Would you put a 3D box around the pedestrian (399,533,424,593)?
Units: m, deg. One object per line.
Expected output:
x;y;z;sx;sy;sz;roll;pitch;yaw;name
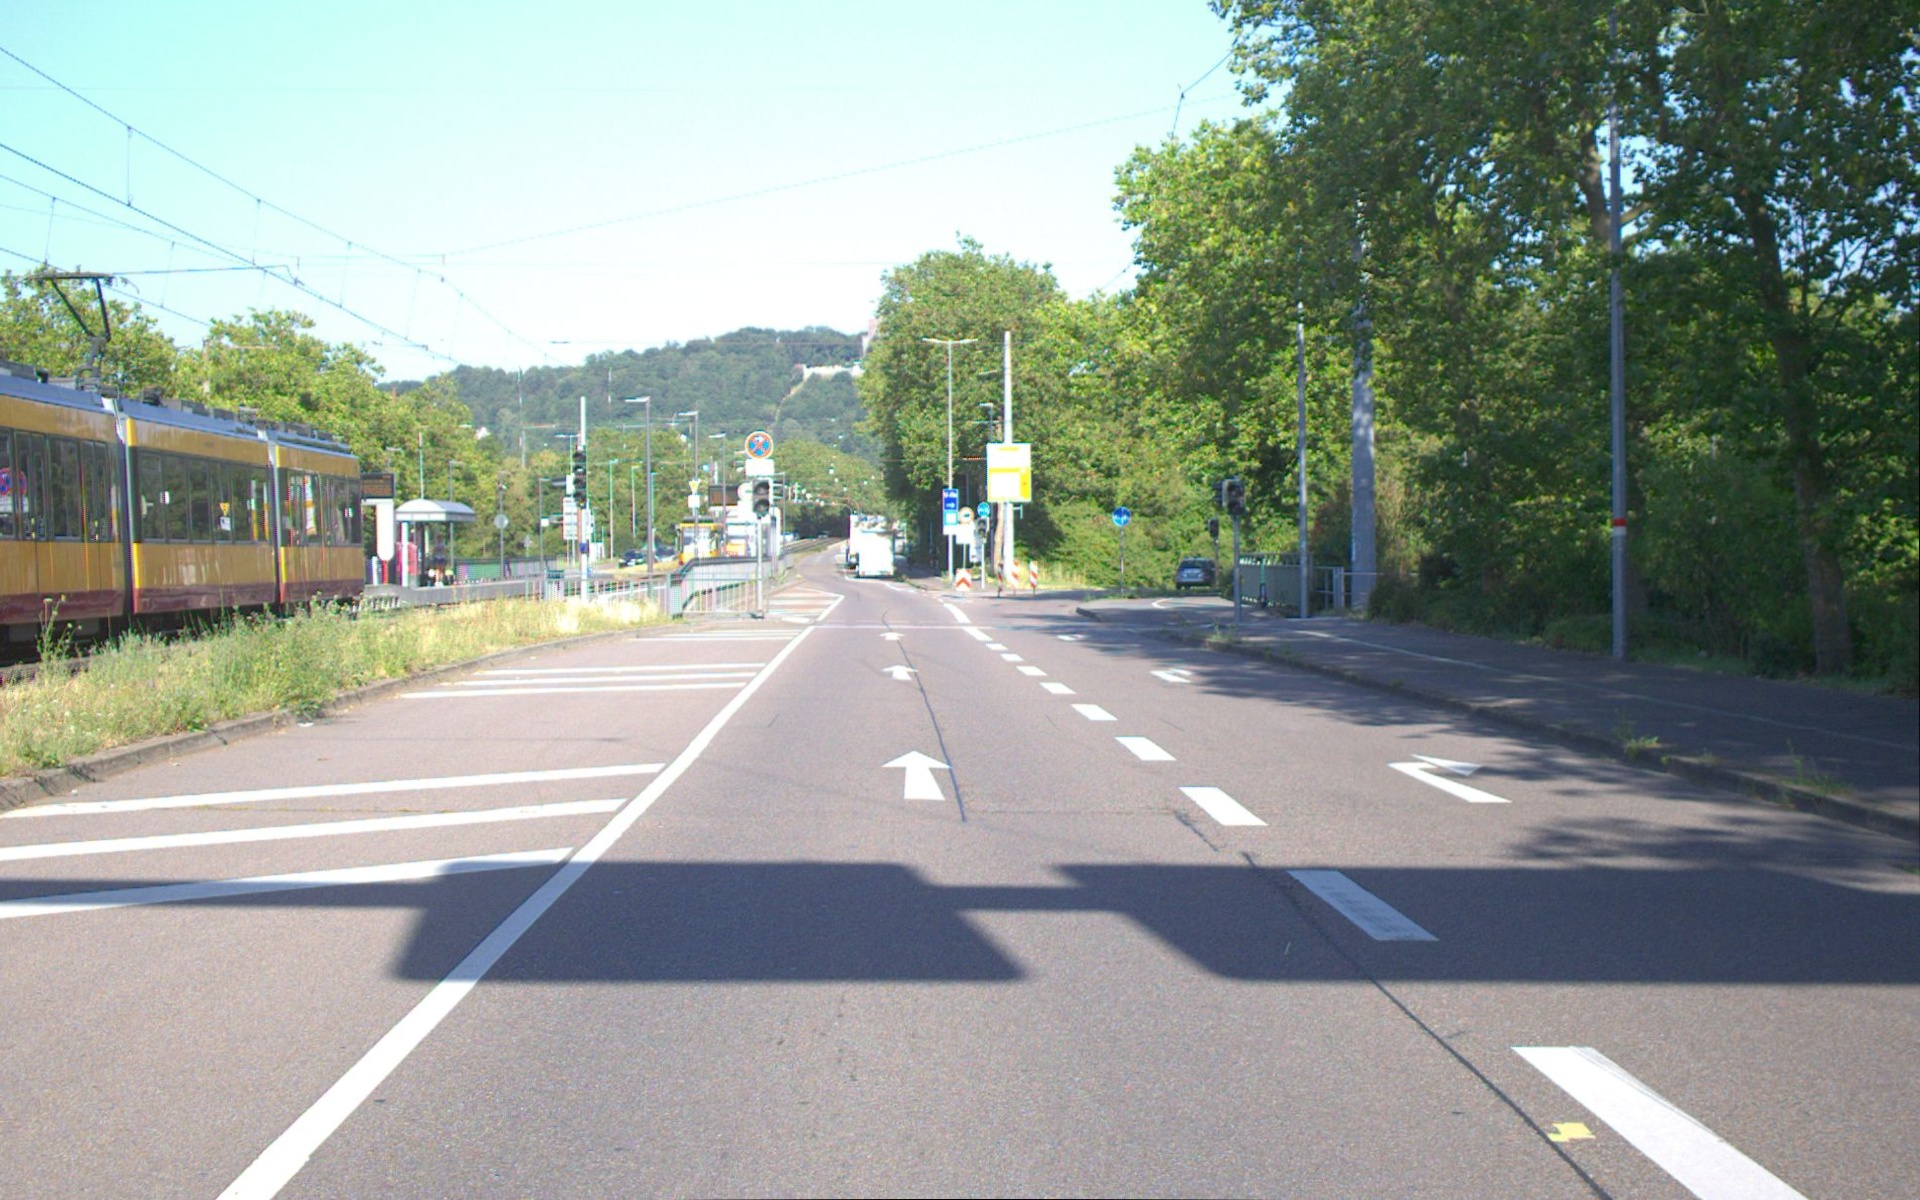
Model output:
-18.668;-1.260;117.055;0.744;2.007;0.608;1;0;0;pedestrian

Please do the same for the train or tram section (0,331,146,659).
-12.984;-1.297;42.970;2.824;3.937;12.708;1;1;-1;train or tram section

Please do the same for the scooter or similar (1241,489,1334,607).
7.769;-1.230;81.874;1.681;2.706;4.869;1;1;-1;scooter or similar

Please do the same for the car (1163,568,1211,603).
10.555;-0.674;159.658;2.087;1.560;3.954;1;1;5;car

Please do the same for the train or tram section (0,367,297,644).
-13.265;-1.423;55.665;2.824;3.937;12.654;1;1;-1;train or tram section

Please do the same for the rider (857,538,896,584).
-4.738;-2.217;194.737;2.109;2.638;0.736;0;1;5;rider

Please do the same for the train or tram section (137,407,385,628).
-13.507;-1.540;67.419;2.824;3.937;10.835;1;1;-1;train or tram section
